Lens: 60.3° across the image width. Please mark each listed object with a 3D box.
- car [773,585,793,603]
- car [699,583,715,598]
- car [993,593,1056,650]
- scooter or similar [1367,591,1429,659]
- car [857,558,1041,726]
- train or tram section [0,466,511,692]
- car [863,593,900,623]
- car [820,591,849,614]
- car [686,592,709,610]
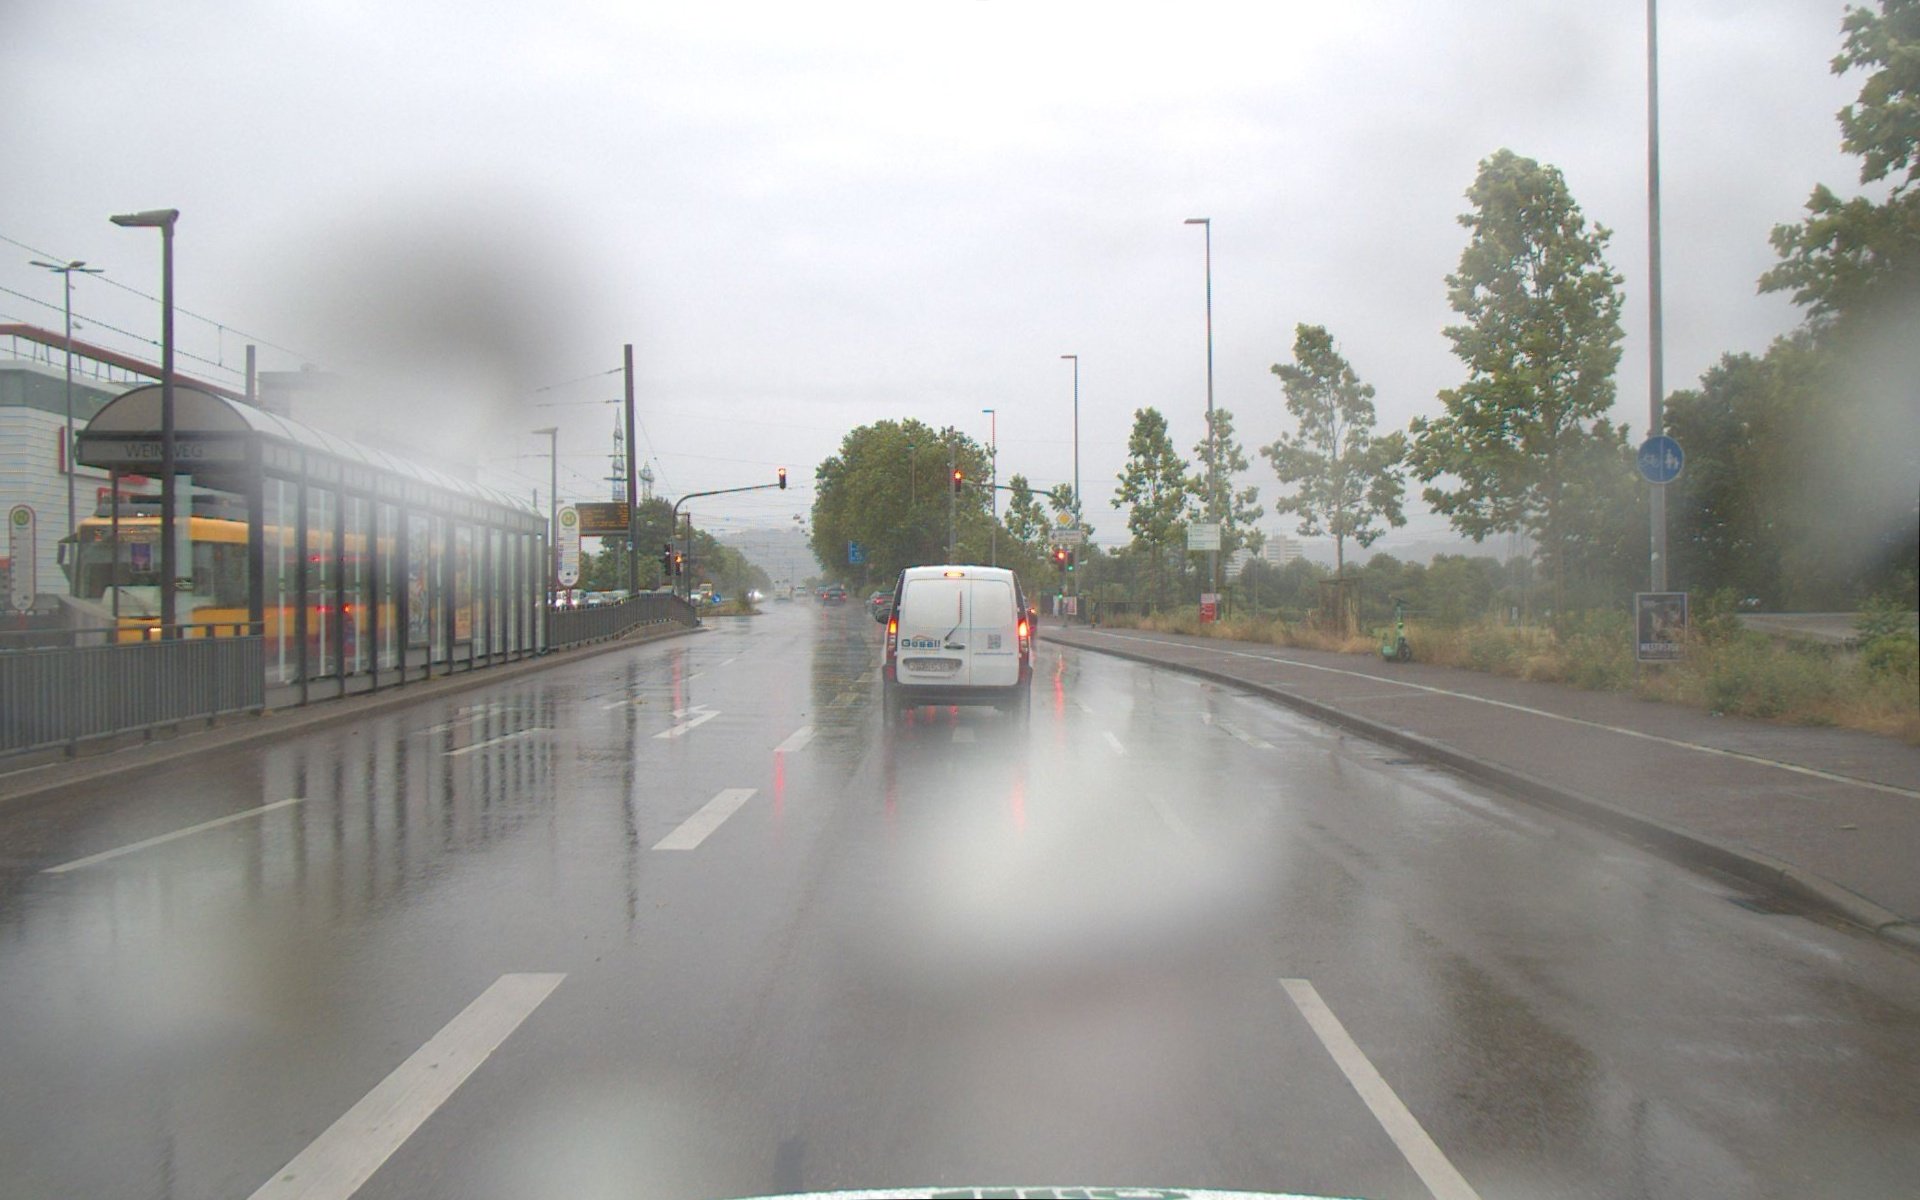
[{"bbox_3d":[-18.892,-0.638,176.453,1.956,1.780,3.993,1,0,-8],"label":"car"},{"bbox_3d":[-36.422,-1.314,238.282,1.954,2.049,3.997,1,0,-4],"label":"car"},{"bbox_3d":[2.129,0.693,55.476,1.952,1.780,4.000,1,0,0],"label":"car"},{"bbox_3d":[8.142,0.451,30.795,0.630,1.216,1.561,-1,0,-4],"label":"scooter or similar"},{"bbox_3d":[-0.162,0.460,20.309,1.984,1.806,4.273,1,0,-1],"label":"car"},{"bbox_3d":[-16.711,-0.400,44.111,3.695,4.107,27.072,1,0,-4],"label":"train or tram section"},{"bbox_3d":[-4.876,0.466,102.296,1.956,1.780,3.993,1,0,-8],"label":"car"},{"bbox_3d":[-9.795,0.189,128.706,1.956,1.780,3.993,1,0,-8],"label":"car"},{"bbox_3d":[-30.616,0.087,193.130,1.952,2.049,4.000,1,0,0],"label":"car"}]
